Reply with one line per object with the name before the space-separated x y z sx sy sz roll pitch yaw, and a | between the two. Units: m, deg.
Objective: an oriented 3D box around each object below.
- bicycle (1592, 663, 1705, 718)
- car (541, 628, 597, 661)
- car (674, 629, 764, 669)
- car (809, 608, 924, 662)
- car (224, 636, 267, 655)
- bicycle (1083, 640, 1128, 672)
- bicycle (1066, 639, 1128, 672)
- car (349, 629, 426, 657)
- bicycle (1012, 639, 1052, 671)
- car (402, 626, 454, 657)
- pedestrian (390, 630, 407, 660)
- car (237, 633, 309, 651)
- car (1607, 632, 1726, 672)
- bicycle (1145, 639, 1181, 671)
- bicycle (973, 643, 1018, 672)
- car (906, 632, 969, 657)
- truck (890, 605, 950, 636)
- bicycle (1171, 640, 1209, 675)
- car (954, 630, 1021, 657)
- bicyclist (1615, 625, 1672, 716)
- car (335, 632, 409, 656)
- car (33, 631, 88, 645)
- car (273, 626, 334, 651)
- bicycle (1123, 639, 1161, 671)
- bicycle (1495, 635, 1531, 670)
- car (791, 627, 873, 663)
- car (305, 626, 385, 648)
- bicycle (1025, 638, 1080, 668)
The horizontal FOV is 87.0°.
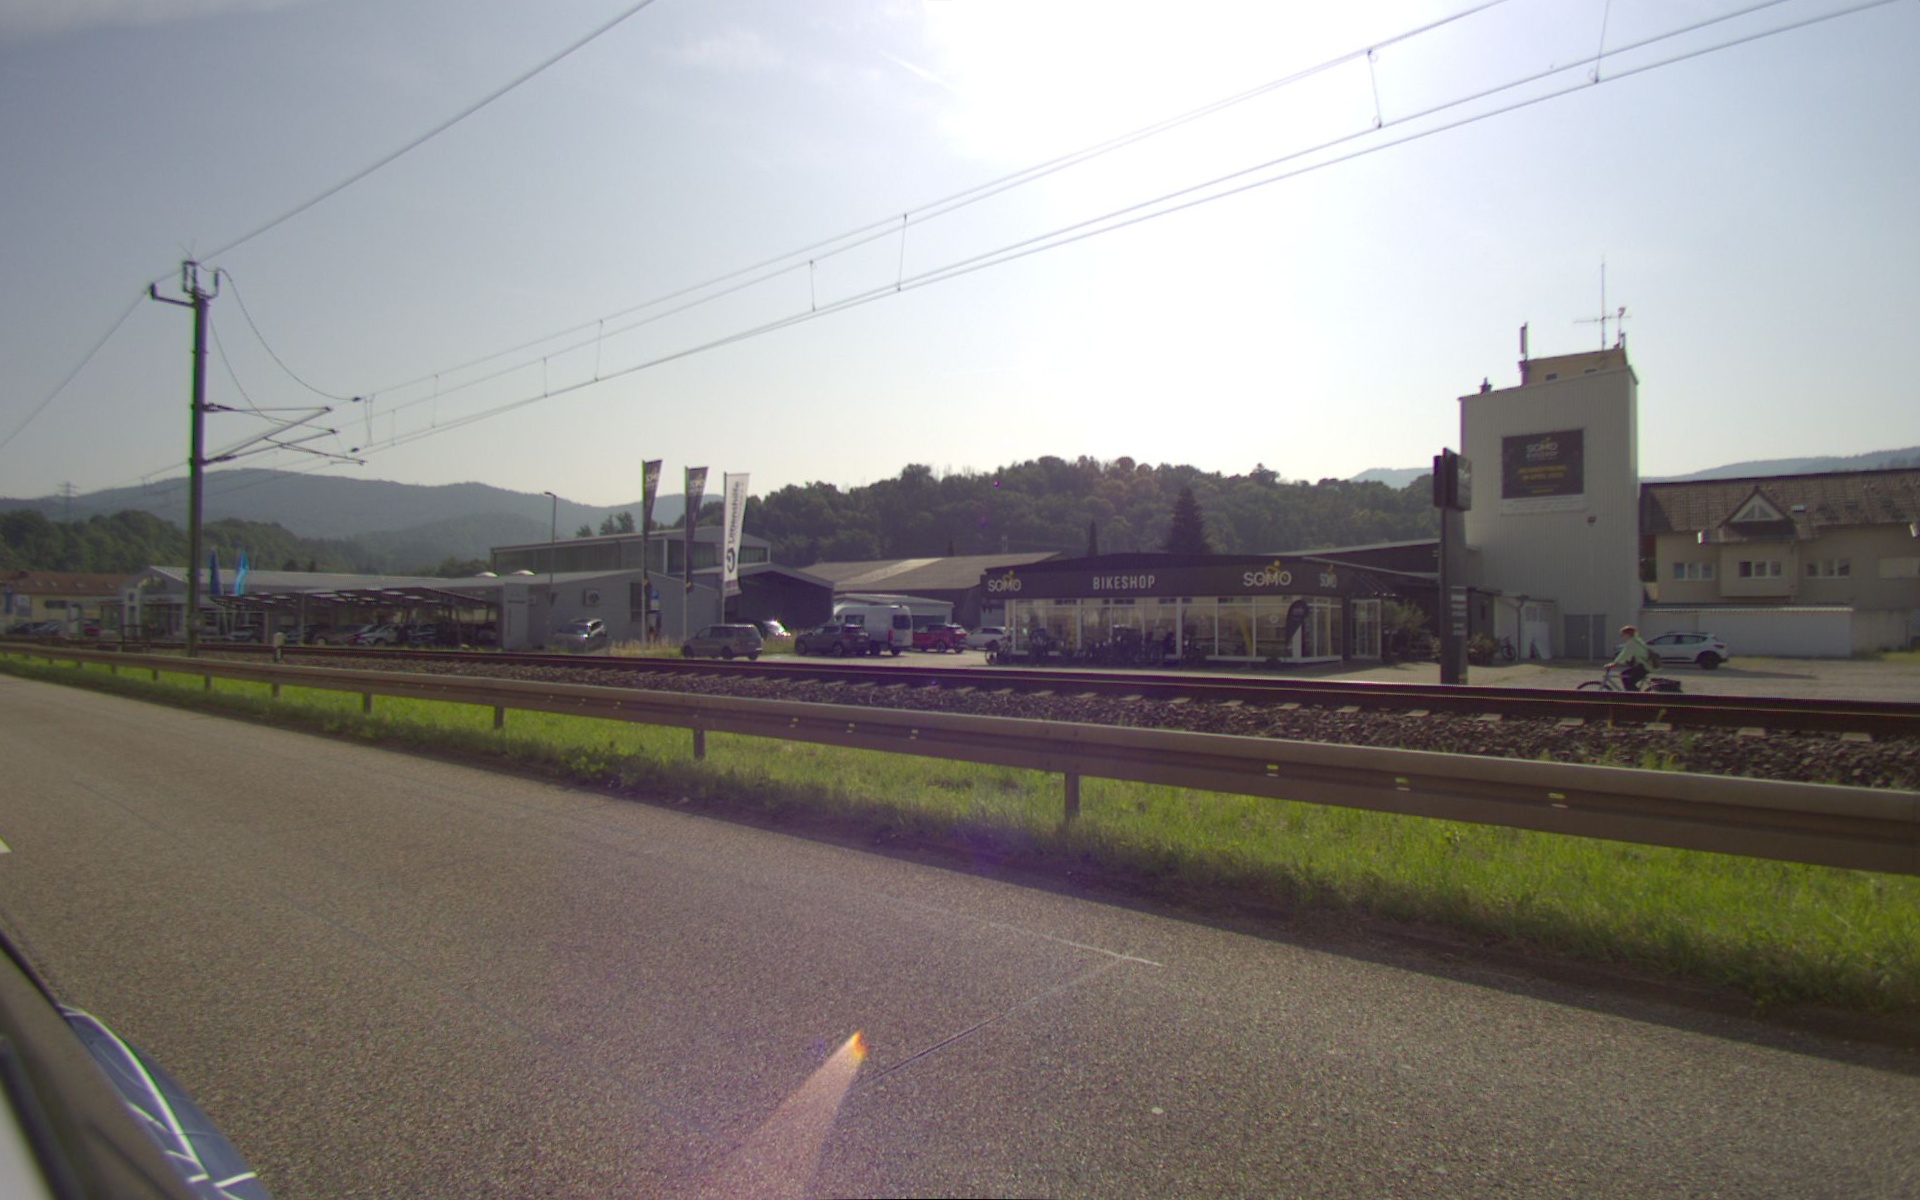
bicycle | 12.863 1.673 18.932 1.707 0.930 0.540 -1 -3 37
car | -22.213 2.503 57.618 1.503 1.541 3.998 0 3 3
car | -11.098 2.208 46.456 4.361 1.701 1.505 -1 0 36
car | -5.108 1.863 54.650 6.149 2.653 2.351 1 -1 37
car | -56.138 3.574 79.607 1.815 1.396 4.538 1 -2 -23
bicycle | 5.556 2.112 38.483 0.729 1.139 2.146 -1 -2 38
bicycle | 4.985 2.019 36.935 2.171 1.139 0.721 -1 -2 37
car | -36.708 2.736 64.965 1.659 1.539 3.922 -1 1 35
bicycle | 2.746 2.105 38.911 0.717 1.139 2.329 1 -2 -17
car | -32.688 2.545 62.298 1.636 1.634 4.040 -2 1 -10
pedestrian | -32.720 2.609 58.966 0.821 1.747 0.807 1 -2 -28
car | -51.941 3.174 76.601 4.145 1.352 1.849 0 -2 -4
car | 30.143 2.194 43.236 3.979 1.610 1.693 -2 -3 41
bicycle | 7.502 2.016 37.319 0.727 1.139 2.153 -1 -2 28
bicycle | 1.466 2.335 41.666 0.729 1.139 2.146 -1 -2 38
car | -1.304 2.544 58.225 3.517 1.368 1.499 -1 -2 39
truck | -3.238 1.641 82.027 4.632 2.443 1.976 1 -1 35
bicycle | 8.083 1.994 35.505 0.727 1.139 2.153 -1 -2 28
car | 1.687 2.653 62.377 4.066 1.553 1.562 -1 -2 39
bicyclist | 12.822 1.299 18.978 0.830 1.659 0.527 -1 -3 37
car | -38.653 2.865 66.587 1.499 1.335 3.922 -1 1 35
car | -96.567 4.086 108.675 1.853 1.385 3.960 -1 -2 29
car | -47.534 2.767 73.373 1.820 1.539 4.275 -2 1 -3
bicycle | 6.772 2.023 37.579 0.727 1.139 2.153 -1 -2 28
bicycle | 23.249 2.182 42.514 0.987 1.298 3.405 -1 0 34
car | -6.566 2.273 51.839 3.992 1.676 1.851 0 -1 36
car | -42.328 2.538 69.739 4.372 1.517 1.847 0 -2 0
bicycle | 3.682 2.112 40.502 2.173 1.139 0.720 -1 -2 41
